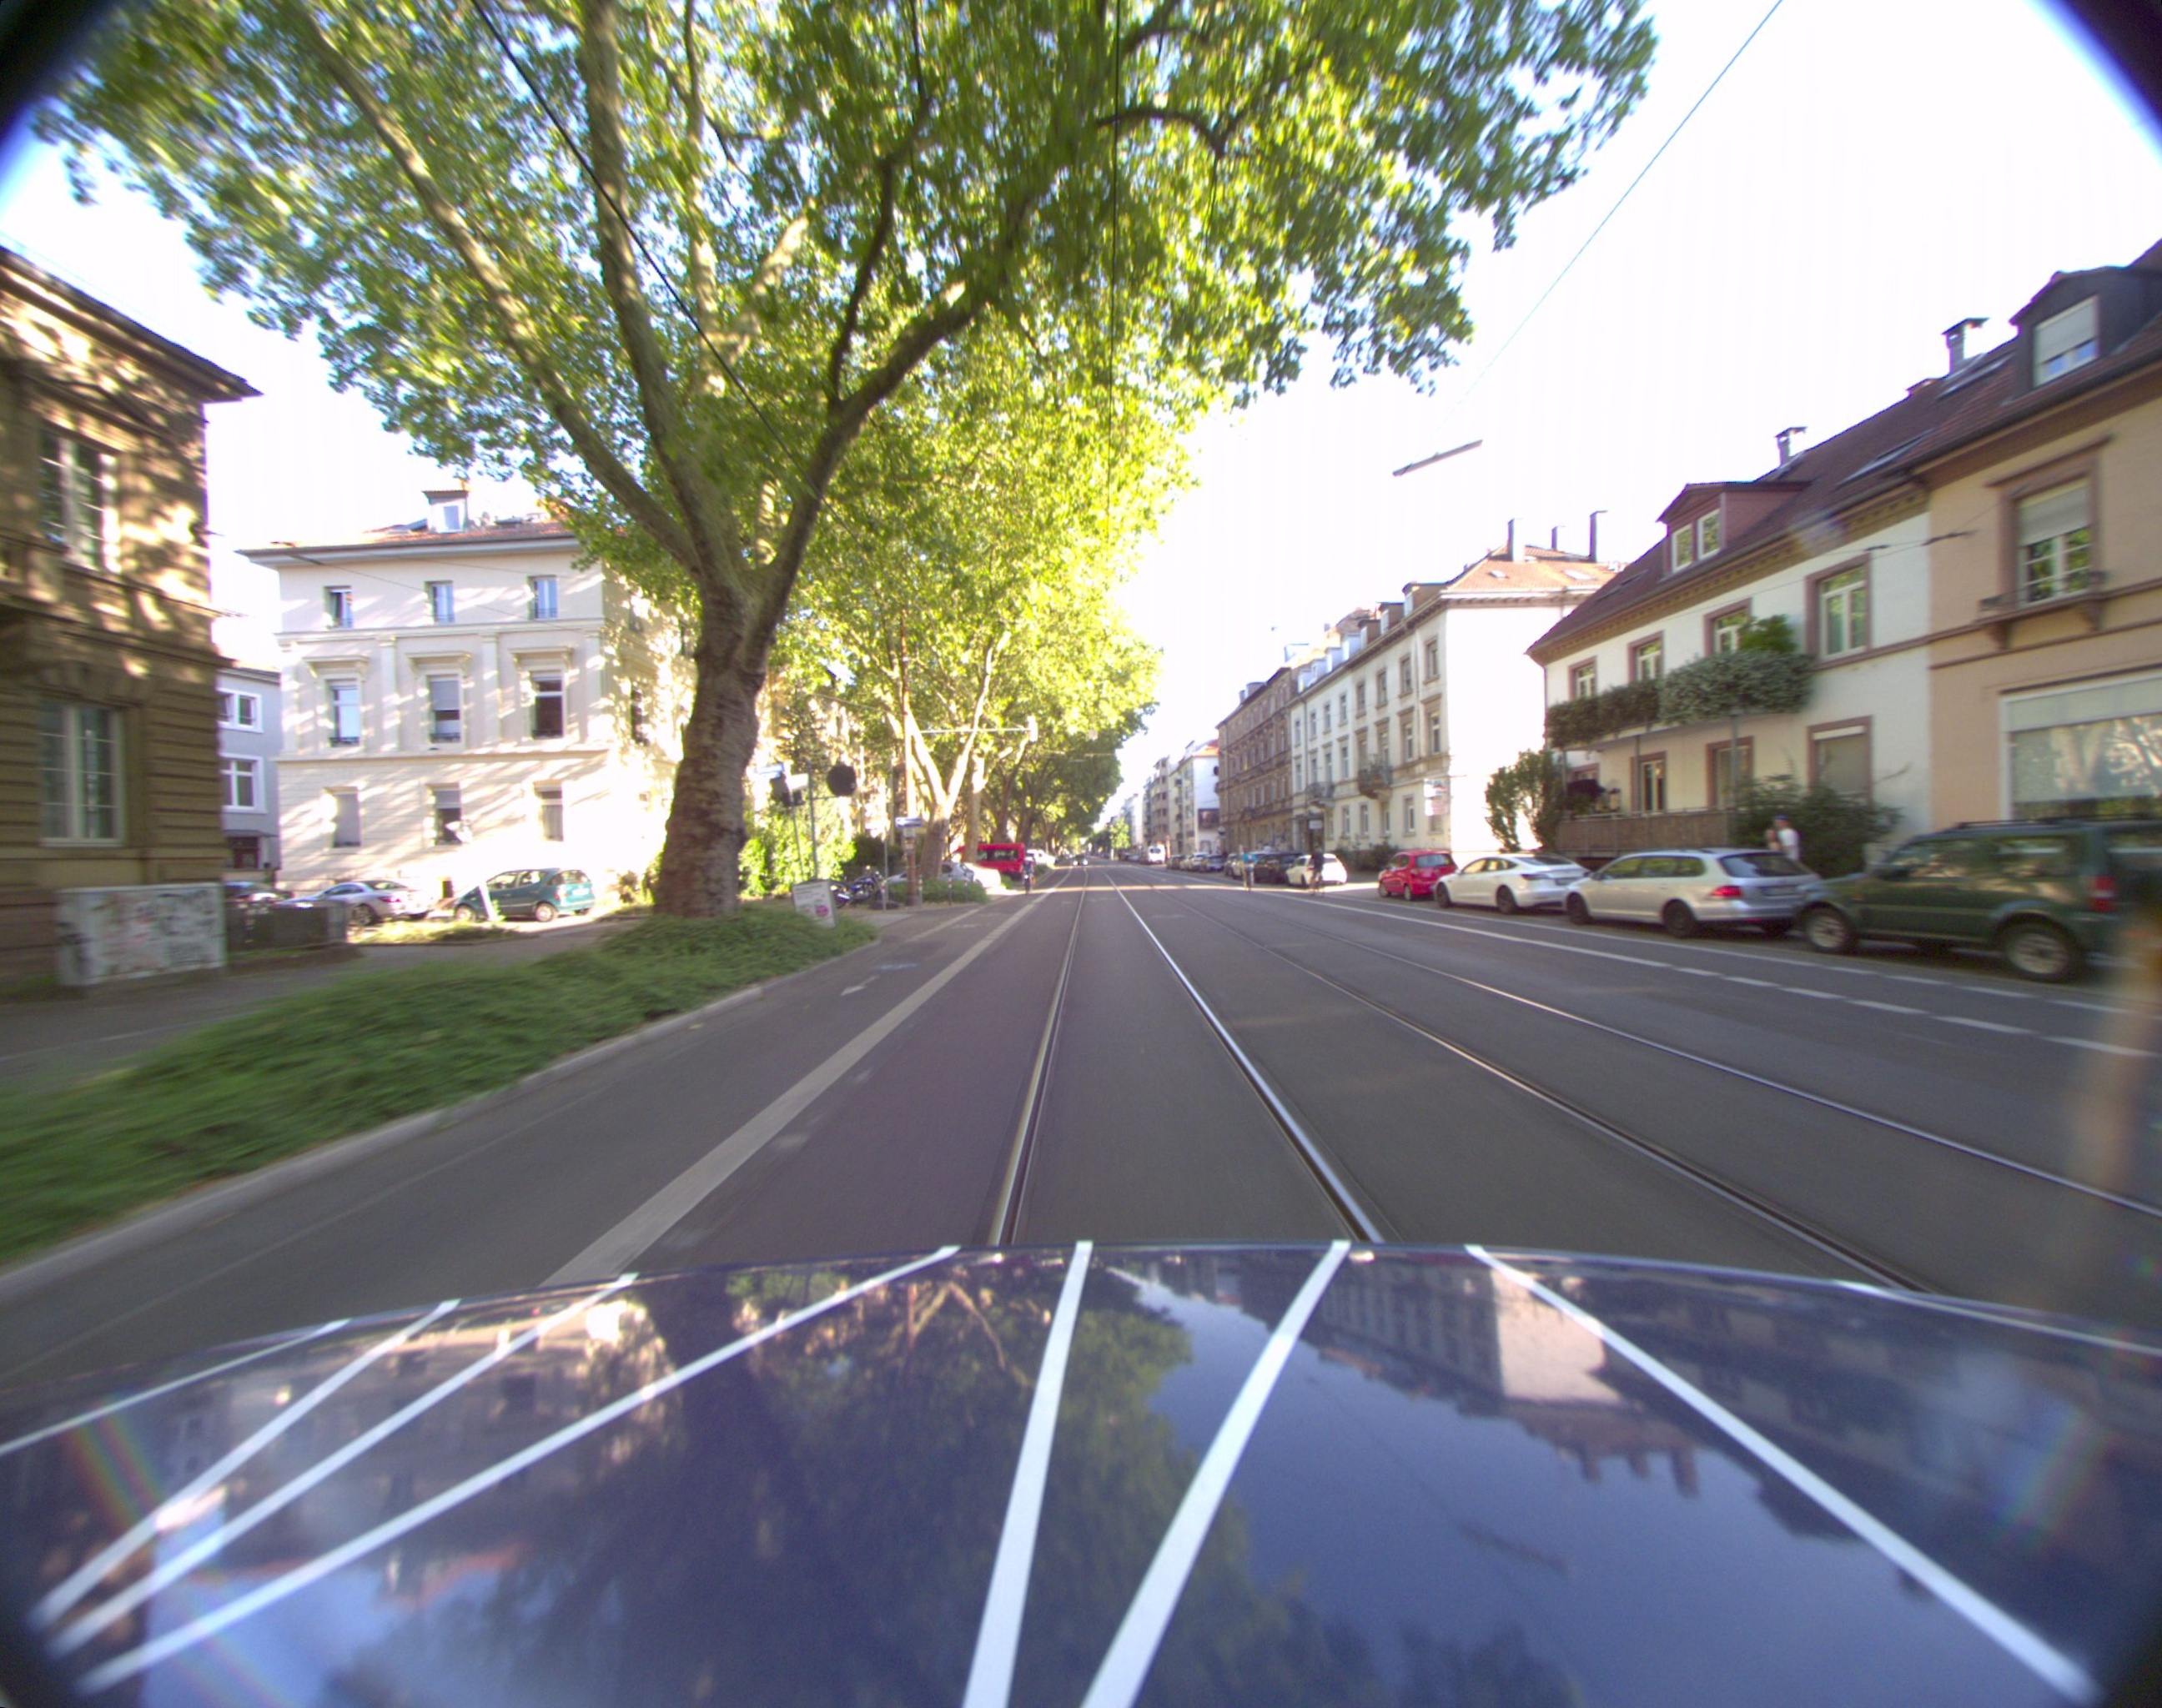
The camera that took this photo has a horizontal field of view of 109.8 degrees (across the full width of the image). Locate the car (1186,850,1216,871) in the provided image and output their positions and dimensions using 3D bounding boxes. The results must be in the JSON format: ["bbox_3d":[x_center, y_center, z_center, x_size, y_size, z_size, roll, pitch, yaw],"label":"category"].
[{"bbox_3d":[10.316,0.536,65.756,1.791,1.713,4.718,-3,0,0],"label":"car"}]

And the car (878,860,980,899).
[{"bbox_3d":[-6.125,1.008,30.879,3.760,1.499,1.681,0,0,0],"label":"car"}]

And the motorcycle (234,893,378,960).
[{"bbox_3d":[-16.960,1.558,16.710,0.495,1.289,2.186,-2,-1,19],"label":"motorcycle"}]

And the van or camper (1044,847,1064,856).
[{"bbox_3d":[-6.087,-0.562,170.390,4.389,2.097,1.837,-1,1,-4],"label":"van or camper"}]

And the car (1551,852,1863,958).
[{"bbox_3d":[10.721,0.753,13.565,1.832,1.494,4.449,-3,0,-1],"label":"car"}]

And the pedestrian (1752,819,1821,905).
[{"bbox_3d":[13.985,0.148,15.067,0.775,1.625,0.656,-3,1,-16],"label":"pedestrian"}]

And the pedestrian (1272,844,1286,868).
[{"bbox_3d":[13.738,0.130,52.695,0.663,1.656,0.770,-2,1,32],"label":"pedestrian"}]

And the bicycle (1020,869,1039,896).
[{"bbox_3d":[-2.233,1.226,33.127,0.596,0.998,2.511,-4,0,0],"label":"bicycle"}]

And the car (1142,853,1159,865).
[{"bbox_3d":[9.784,0.670,107.238,1.723,1.622,4.346,-2,0,-2],"label":"car"}]

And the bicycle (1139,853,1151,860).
[{"bbox_3d":[10.232,0.457,121.377,1.897,1.032,0.402,-3,1,6],"label":"bicycle"}]

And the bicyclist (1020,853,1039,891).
[{"bbox_3d":[-2.268,0.777,33.319,0.615,1.543,0.935,-6,1,0],"label":"bicyclist"}]

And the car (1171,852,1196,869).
[{"bbox_3d":[10.252,0.578,76.254,1.745,1.553,4.785,-3,0,-1],"label":"car"}]

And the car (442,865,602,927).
[{"bbox_3d":[-16.517,1.222,22.568,3.480,1.580,1.630,-1,4,2],"label":"car"}]

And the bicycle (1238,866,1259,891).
[{"bbox_3d":[6.923,0.996,31.465,0.500,0.937,1.921,0,0,2],"label":"bicycle"}]

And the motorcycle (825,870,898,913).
[{"bbox_3d":[-7.052,1.184,24.471,2.174,1.221,0.474,-3,1,-27],"label":"motorcycle"}]

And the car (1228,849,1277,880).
[{"bbox_3d":[10.177,0.598,45.396,1.861,1.693,4.762,-1,0,1],"label":"car"}]

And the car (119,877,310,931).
[{"bbox_3d":[-26.490,1.510,23.308,4.082,1.406,1.657,-2,2,4],"label":"car"}]

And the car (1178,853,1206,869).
[{"bbox_3d":[10.314,0.649,70.900,1.704,1.412,3.998,-3,0,-4],"label":"car"}]

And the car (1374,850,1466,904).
[{"bbox_3d":[10.713,0.678,24.239,1.573,1.553,3.449,-1,0,4],"label":"car"}]

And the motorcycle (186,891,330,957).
[{"bbox_3d":[-18.870,1.569,17.503,0.495,1.289,2.185,-2,0,19],"label":"motorcycle"}]

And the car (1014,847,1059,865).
[{"bbox_3d":[-6.115,0.261,105.129,6.006,2.269,2.006,-1,0,1],"label":"car"}]

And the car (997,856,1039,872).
[{"bbox_3d":[-6.099,1.001,73.697,4.040,1.471,1.680,-1,0,-6],"label":"car"}]

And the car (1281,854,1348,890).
[{"bbox_3d":[10.556,0.770,34.621,1.691,1.468,4.257,-3,0,0],"label":"car"}]

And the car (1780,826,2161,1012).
[{"bbox_3d":[10.818,0.592,9.024,1.560,1.722,3.685,-3,0,-1],"label":"car"}]

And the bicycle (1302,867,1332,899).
[{"bbox_3d":[8.253,0.987,26.639,0.486,1.041,2.039,0,0,2],"label":"bicycle"}]

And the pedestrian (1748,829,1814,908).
[{"bbox_3d":[13.338,0.271,14.484,0.637,1.452,0.656,-3,1,-16],"label":"pedestrian"}]

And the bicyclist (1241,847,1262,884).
[{"bbox_3d":[6.974,0.472,31.195,0.640,1.494,1.069,0,1,1],"label":"bicyclist"}]

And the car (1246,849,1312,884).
[{"bbox_3d":[10.328,0.620,39.948,1.862,1.693,4.657,-1,0,-5],"label":"car"}]

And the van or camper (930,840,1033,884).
[{"bbox_3d":[-5.779,0.494,44.963,5.831,2.504,2.287,0,0,-2],"label":"van or camper"}]

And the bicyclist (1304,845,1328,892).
[{"bbox_3d":[8.240,0.505,26.660,0.536,1.625,0.896,1,1,2],"label":"bicyclist"}]

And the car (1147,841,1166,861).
[{"bbox_3d":[10.080,-0.405,101.781,2.070,2.521,5.666,-1,0,1],"label":"car"}]

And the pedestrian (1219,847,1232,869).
[{"bbox_3d":[11.969,0.306,62.833,0.686,1.790,1.056,-3,1,-9],"label":"pedestrian"}]

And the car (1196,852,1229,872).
[{"bbox_3d":[10.396,0.608,60.224,1.667,1.512,4.063,-3,1,-2],"label":"car"}]

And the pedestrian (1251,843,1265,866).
[{"bbox_3d":[13.720,0.034,58.923,0.761,1.810,0.830,-2,1,-3],"label":"pedestrian"}]

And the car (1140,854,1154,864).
[{"bbox_3d":[9.811,0.728,113.167,1.722,1.448,4.572,-1,0,1],"label":"car"}]

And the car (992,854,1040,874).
[{"bbox_3d":[-5.835,0.872,68.563,4.274,1.709,1.848,1,0,-2],"label":"car"}]

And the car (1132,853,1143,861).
[{"bbox_3d":[10.198,0.541,137.532,1.694,1.482,4.728,-1,0,0],"label":"car"}]

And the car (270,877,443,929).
[{"bbox_3d":[-21.718,1.445,22.873,3.664,1.318,1.630,-2,2,3],"label":"car"}]

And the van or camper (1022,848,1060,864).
[{"bbox_3d":[-6.534,0.329,123.541,6.048,2.476,2.107,-1,1,-1],"label":"van or camper"}]

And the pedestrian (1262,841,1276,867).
[{"bbox_3d":[14.627,0.020,59.077,0.761,2.002,0.830,-2,1,-2],"label":"pedestrian"}]

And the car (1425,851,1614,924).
[{"bbox_3d":[10.649,0.728,18.940,1.832,1.494,4.687,-3,0,-2],"label":"car"}]

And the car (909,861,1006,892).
[{"bbox_3d":[-5.800,1.056,35.965,4.296,1.409,1.760,0,0,2],"label":"car"}]

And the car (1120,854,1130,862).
[{"bbox_3d":[8.890,0.769,153.106,1.660,1.591,4.201,-3,0,-1],"label":"car"}]

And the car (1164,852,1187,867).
[{"bbox_3d":[10.093,0.591,81.500,1.745,1.483,4.044,-3,0,-1],"label":"car"}]

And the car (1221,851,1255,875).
[{"bbox_3d":[10.359,0.576,50.383,1.557,1.506,3.924,-1,0,2],"label":"car"}]
